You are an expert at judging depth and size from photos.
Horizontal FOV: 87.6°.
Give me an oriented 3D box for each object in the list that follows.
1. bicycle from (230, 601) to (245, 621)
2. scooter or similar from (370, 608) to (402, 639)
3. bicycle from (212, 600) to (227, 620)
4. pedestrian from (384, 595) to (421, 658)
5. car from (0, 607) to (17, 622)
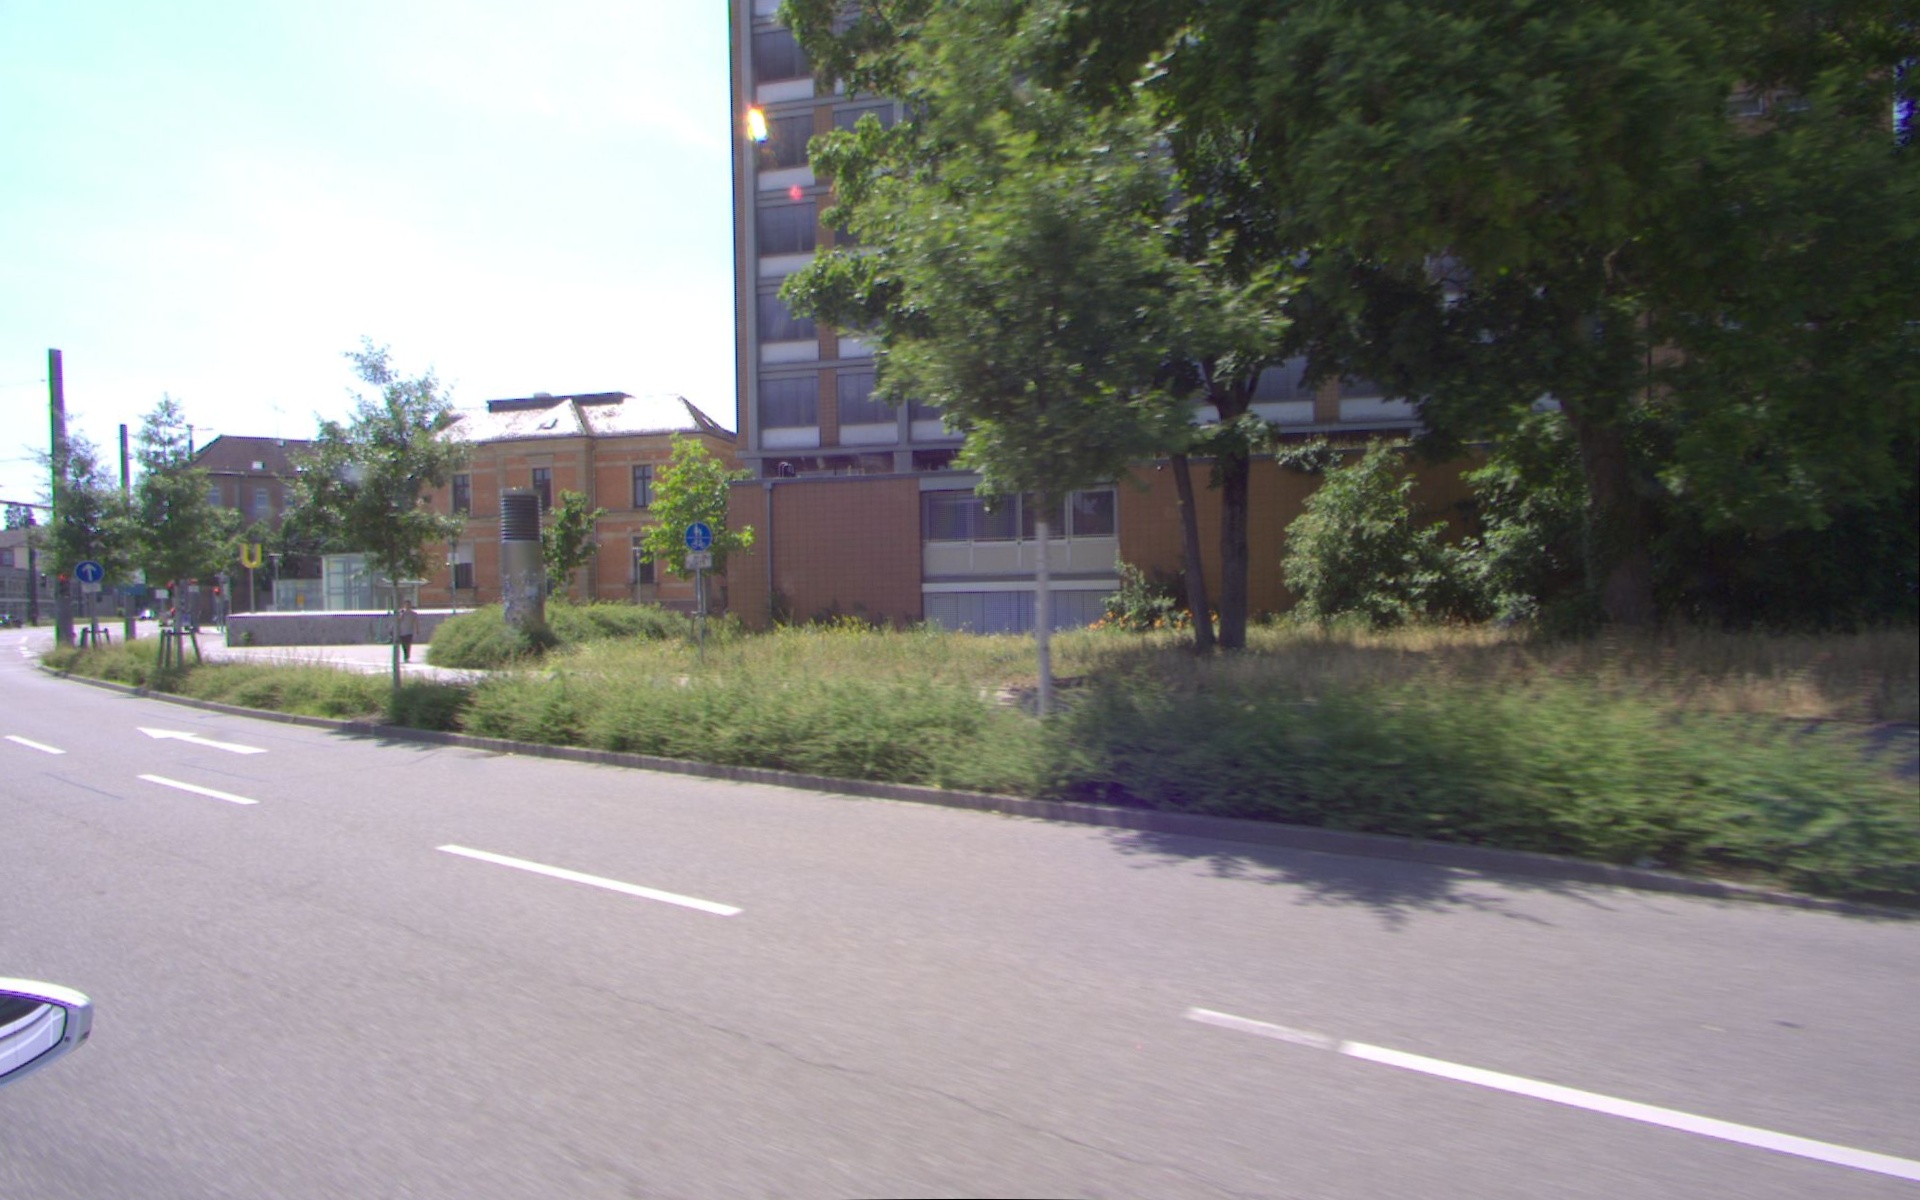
[{"bbox_3d":[-70.132,1.022,97.187,3.146,1.812,0.608,2,2,44],"label":"bicycle"},{"bbox_3d":[-22.778,0.927,39.725,1.267,1.183,0.397,2,2,21],"label":"scooter or similar"},{"bbox_3d":[-71.160,0.930,96.197,3.146,1.812,0.608,2,2,44],"label":"bicycle"},{"bbox_3d":[-15.563,0.725,27.954,0.802,1.728,0.727,1,1,44],"label":"pedestrian"},{"bbox_3d":[-104.371,1.590,109.186,1.554,1.446,3.592,1,1,-31],"label":"car"}]
